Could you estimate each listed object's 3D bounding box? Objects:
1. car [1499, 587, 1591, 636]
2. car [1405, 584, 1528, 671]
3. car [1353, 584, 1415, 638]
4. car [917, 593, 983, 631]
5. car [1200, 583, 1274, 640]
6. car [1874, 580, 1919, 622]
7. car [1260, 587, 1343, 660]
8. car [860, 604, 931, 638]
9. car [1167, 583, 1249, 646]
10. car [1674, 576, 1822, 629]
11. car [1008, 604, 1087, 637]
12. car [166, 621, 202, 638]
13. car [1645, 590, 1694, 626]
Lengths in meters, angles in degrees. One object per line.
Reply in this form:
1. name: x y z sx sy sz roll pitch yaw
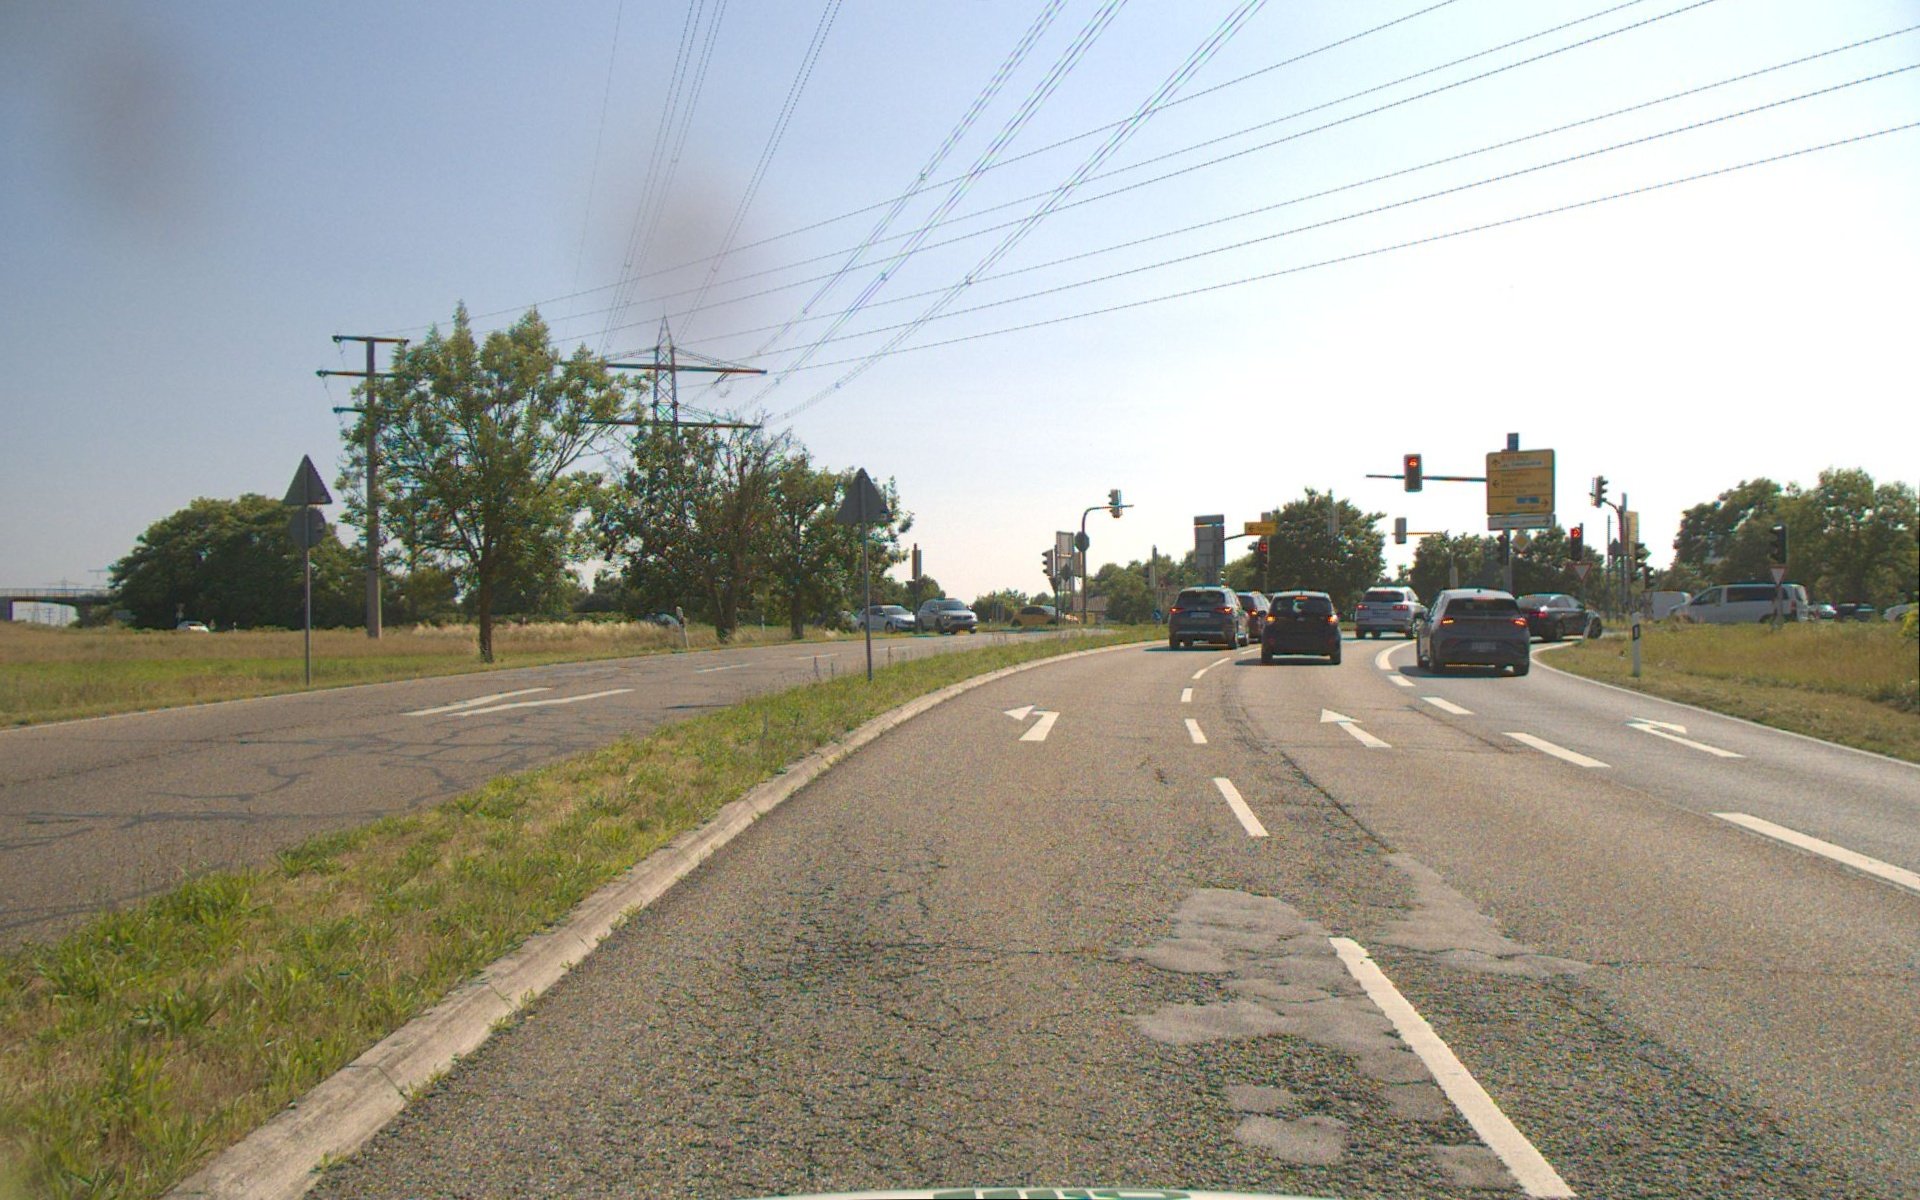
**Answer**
1. car: 17.983 0.344 50.721 1.613 1.410 3.986 -1 0 35
2. car: 9.643 0.482 31.766 1.735 1.544 4.103 -1 0 10
3. car: 13.943 0.358 54.326 1.599 1.706 3.750 0 0 20
4. car: -0.490 0.561 76.516 1.788 1.680 3.976 0 -1 -20
5. car: 8.286 0.343 49.297 1.705 1.596 3.626 1 0 17
6. car: 37.108 0.028 62.453 4.258 1.545 1.797 -1 -1 42
7. car: 7.355 0.473 35.437 1.598 1.473 3.297 0 0 14
8. car: -3.246 1.056 82.611 1.798 1.680 3.954 0 -1 -33
9. car: 6.633 0.371 43.947 1.705 1.596 3.627 0 0 16
10. car: 30.619 0.064 64.342 4.860 1.951 1.988 1 1 42
11. car: 4.548 1.100 86.520 3.932 1.680 1.808 -1 -1 44
12. car: -77.399 2.969 164.939 4.681 1.680 1.807 -1 -1 45
13. car: 44.148 0.501 102.902 1.897 2.174 4.623 1 0 35
